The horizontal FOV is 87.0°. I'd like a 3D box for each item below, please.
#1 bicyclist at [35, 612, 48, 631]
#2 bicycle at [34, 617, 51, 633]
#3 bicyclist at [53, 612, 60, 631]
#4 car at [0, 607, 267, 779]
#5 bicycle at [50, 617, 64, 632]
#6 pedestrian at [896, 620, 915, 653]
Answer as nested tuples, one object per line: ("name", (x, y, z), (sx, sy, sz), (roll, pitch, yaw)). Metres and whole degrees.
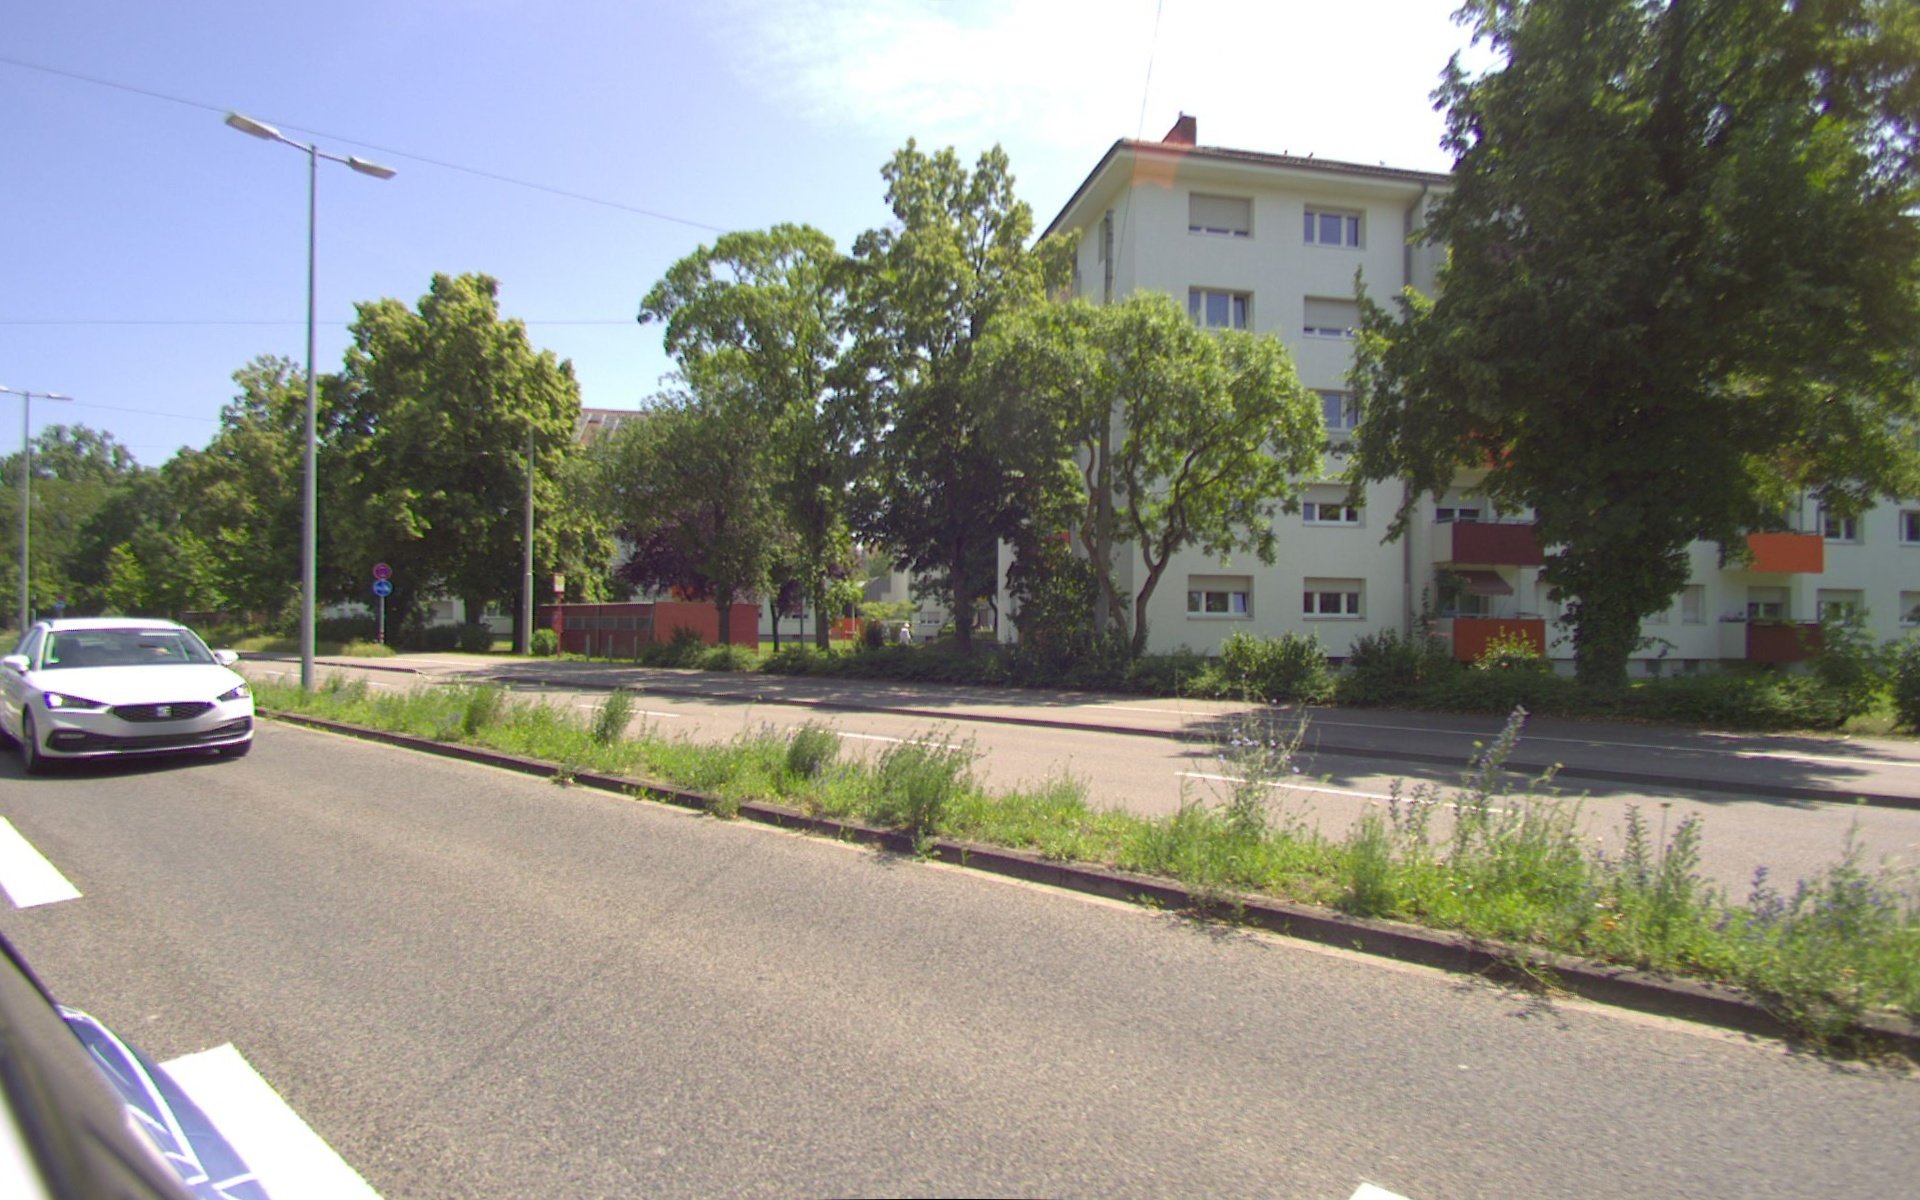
("bicyclist", (-66.299, 1.549, 73.034), (0.754, 1.356, 0.539), (-1, -2, 37))
("bicycle", (-65.942, 1.764, 72.732), (1.613, 1.142, 0.582), (-1, -2, 38))
("bicyclist", (-65.643, 1.541, 73.532), (0.440, 1.402, 0.354), (-1, -1, 41))
("car", (-9.064, 0.832, 10.811), (4.109, 1.479, 1.750), (-1, 0, 41))
("bicycle", (-65.609, 1.778, 73.510), (1.378, 1.103, 0.548), (0, 0, 39))
("pedestrian", (-2.401, 1.609, 44.714), (0.688, 1.442, 0.468), (-1, -3, 42))
